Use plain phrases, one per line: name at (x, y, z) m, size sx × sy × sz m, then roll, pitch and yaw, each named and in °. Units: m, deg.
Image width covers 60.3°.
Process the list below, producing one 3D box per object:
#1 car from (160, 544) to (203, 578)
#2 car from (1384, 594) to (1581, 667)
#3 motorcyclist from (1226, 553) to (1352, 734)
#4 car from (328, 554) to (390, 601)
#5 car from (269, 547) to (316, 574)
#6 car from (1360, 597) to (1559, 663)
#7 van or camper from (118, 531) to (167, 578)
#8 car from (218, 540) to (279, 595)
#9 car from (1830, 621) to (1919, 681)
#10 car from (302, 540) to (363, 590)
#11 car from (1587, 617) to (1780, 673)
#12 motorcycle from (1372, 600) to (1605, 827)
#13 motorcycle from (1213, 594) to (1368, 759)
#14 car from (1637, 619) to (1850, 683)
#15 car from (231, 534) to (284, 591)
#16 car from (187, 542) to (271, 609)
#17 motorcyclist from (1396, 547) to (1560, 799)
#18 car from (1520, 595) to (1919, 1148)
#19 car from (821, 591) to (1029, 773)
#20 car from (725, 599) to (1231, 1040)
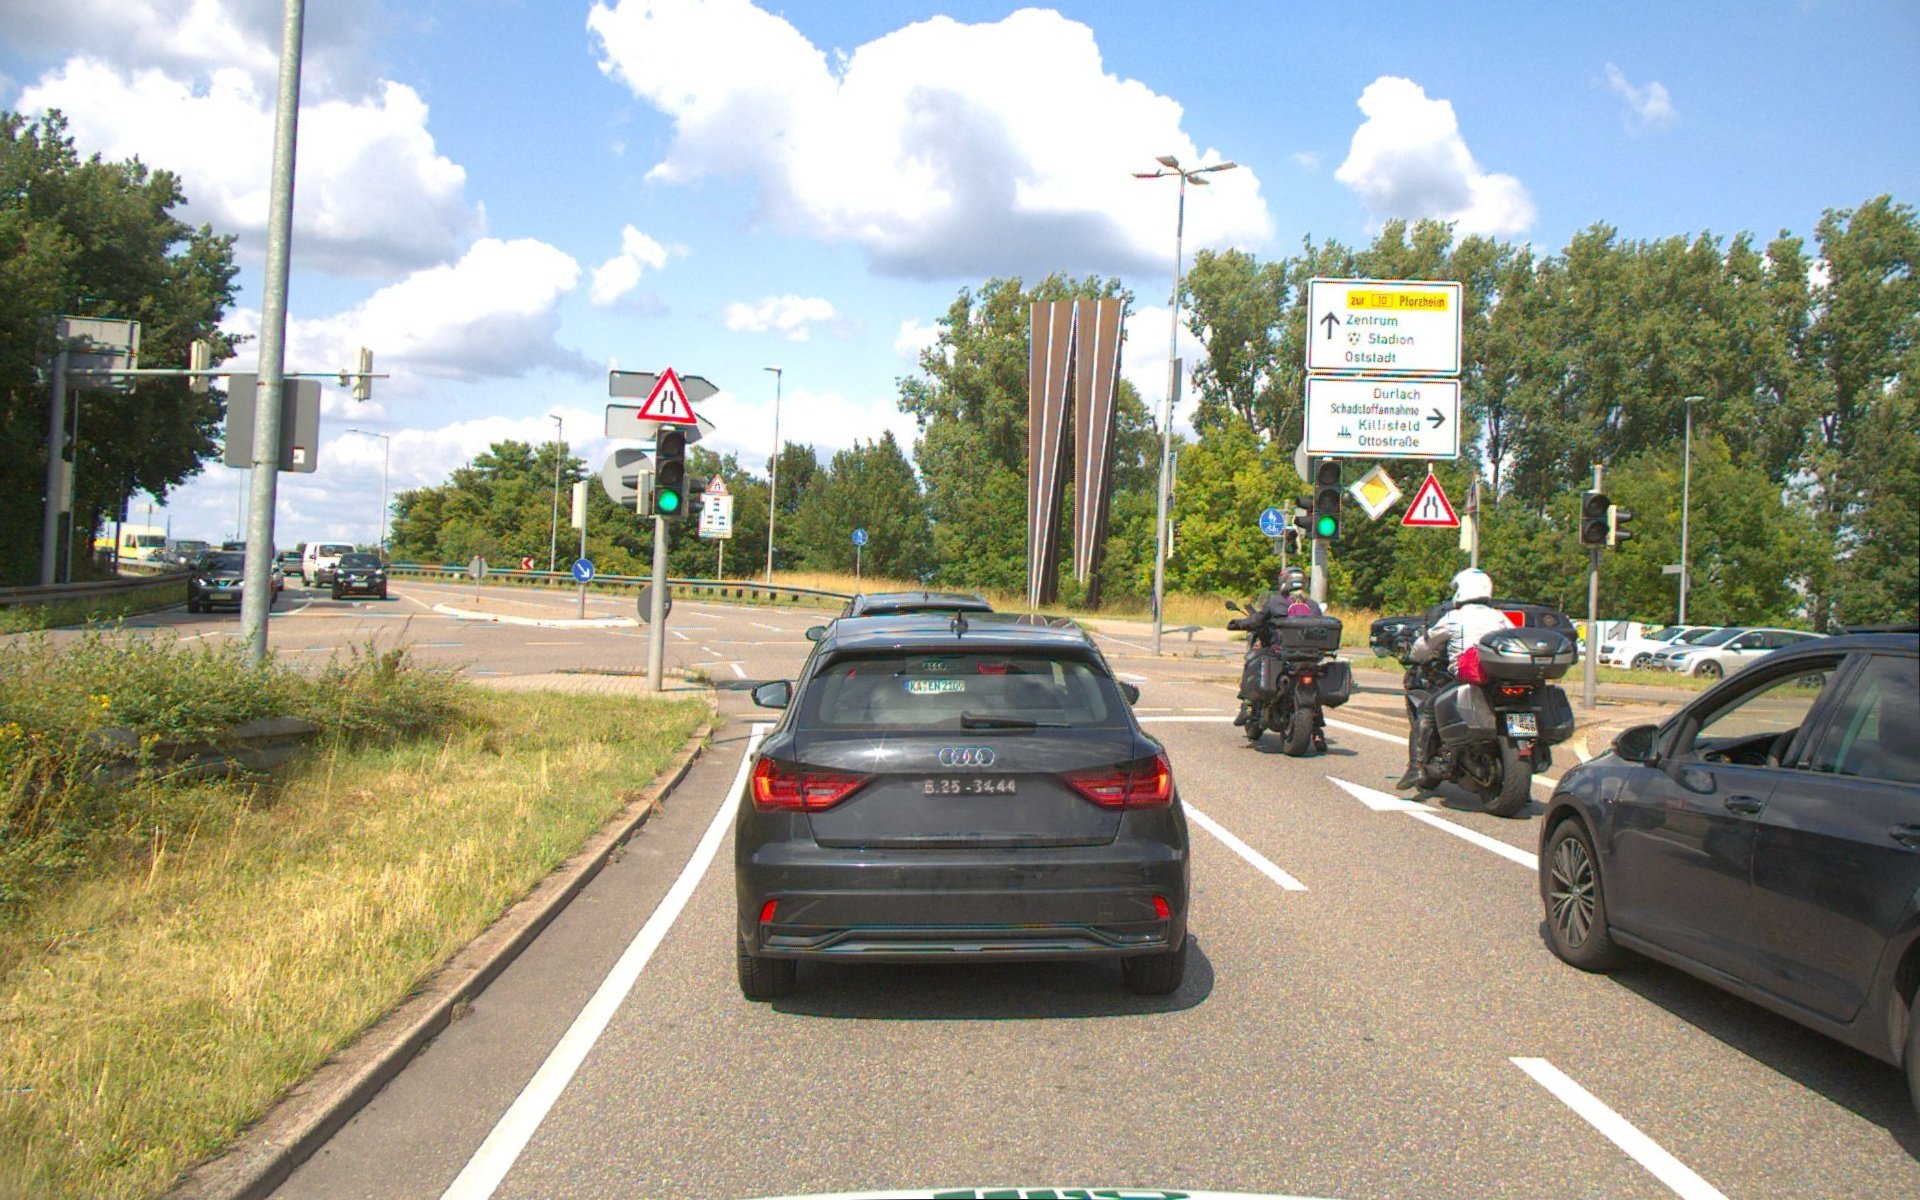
car at (-42.140, -2.092, 89.501) m, size 1.823 × 1.735 × 4.286 m, roll 2°, pitch 0°, yaw -29°
car at (12.602, 0.720, 40.067) m, size 4.182 × 1.572 × 1.736 m, roll 2°, pitch 0°, yaw -2°
motorcyclist at (3.075, 0.392, 15.568) m, size 0.918 × 1.618 × 1.083 m, roll 2°, pitch 0°, yaw -1°
car at (-20.609, -0.784, 56.676) m, size 1.708 × 1.522 × 4.017 m, roll 2°, pitch 0°, yaw -24°
car at (-39.368, -2.334, 97.499) m, size 1.973 × 1.522 × 4.078 m, roll 2°, pitch 0°, yaw -30°
car at (13.221, 0.780, 43.930) m, size 4.750 × 1.572 × 1.736 m, roll 2°, pitch 0°, yaw -2°
van or camper at (-50.375, -2.794, 101.845) m, size 1.974 × 2.730 × 6.788 m, roll 2°, pitch 0°, yaw -32°
car at (-25.376, -1.148, 59.101) m, size 1.817 × 1.833 × 4.299 m, roll 2°, pitch 0°, yaw -22°
car at (26.101, 1.420, 44.846) m, size 4.141 × 1.502 × 1.736 m, roll 2°, pitch 0°, yaw -4°
car at (-27.374, -1.512, 72.105) m, size 1.970 × 2.049 × 4.430 m, roll 2°, pitch 0°, yaw -27°
car at (19.334, 1.193, 44.283) m, size 4.404 × 1.304 × 1.736 m, roll 2°, pitch 0°, yaw -4°
motorcycle at (3.711, 0.732, 11.876) m, size 0.848 × 1.413 × 2.370 m, roll 2°, pitch 1°, yaw -1°
motorcycle at (3.066, 0.661, 15.614) m, size 0.918 × 1.407 × 2.369 m, roll 2°, pitch 0°, yaw -1°
car at (19.064, 1.227, 40.344) m, size 4.384 × 1.343 × 1.735 m, roll 2°, pitch 0°, yaw -4°
car at (-28.221, -1.496, 66.402) m, size 1.819 × 2.137 × 4.293 m, roll 2°, pitch 0°, yaw -24°
car at (-19.451, -0.608, 44.127) m, size 1.813 × 1.646 × 3.974 m, roll 2°, pitch -1°, yaw -21°
motorcyclist at (3.715, 0.504, 11.938) m, size 0.848 × 1.730 × 0.894 m, roll 2°, pitch 0°, yaw -1°
car at (3.472, 0.772, 5.524) m, size 1.696 × 1.502 × 4.045 m, roll 2°, pitch 0°, yaw -2°
car at (-0.440, 0.647, 15.326) m, size 1.692 × 1.448 × 3.841 m, roll 0°, pitch 1°, yaw -5°
car at (0.033, 0.732, 7.533) m, size 1.691 × 1.429 × 3.999 m, roll 0°, pitch 1°, yaw -1°
